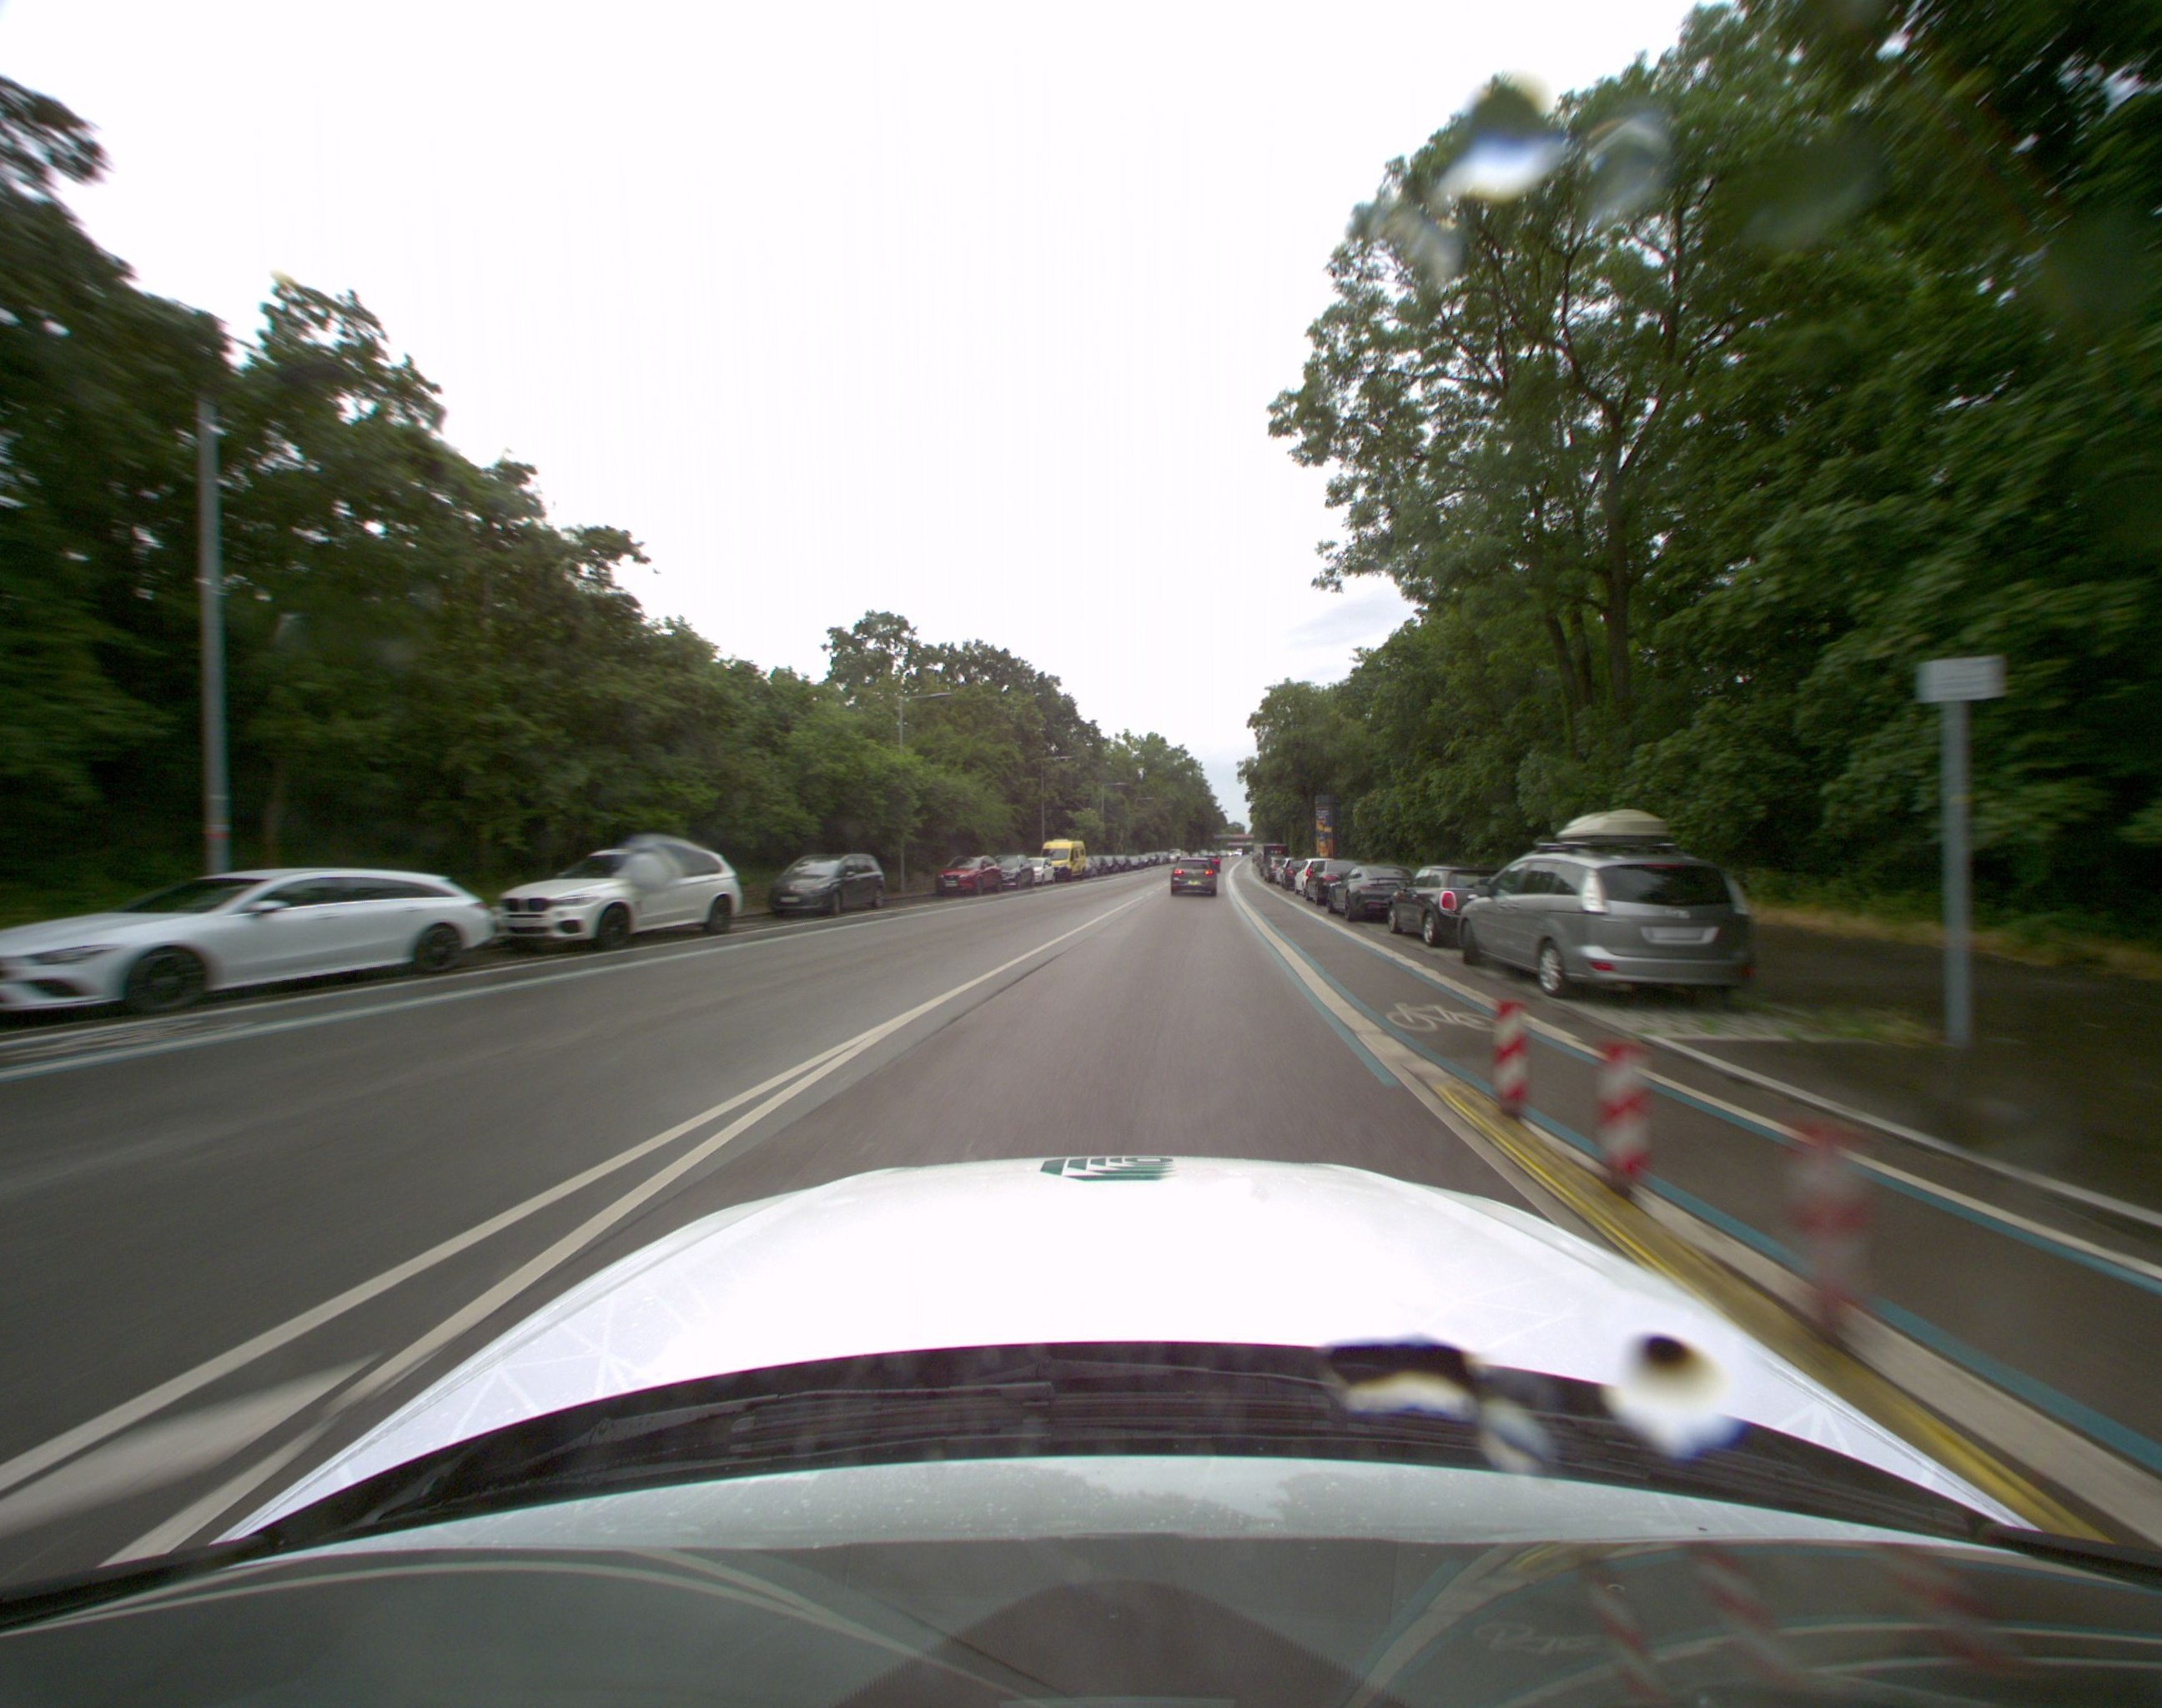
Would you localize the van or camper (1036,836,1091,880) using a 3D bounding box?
[{"bbox_3d":[-1.037,0.226,51.181,2.129,2.627,5.702,0,0,12],"label":"van or camper"}]

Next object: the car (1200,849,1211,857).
[{"bbox_3d":[29.393,-0.218,192.434,2.144,2.013,5.048,0,0,13],"label":"car"}]

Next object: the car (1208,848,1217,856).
[{"bbox_3d":[34.969,-0.592,216.805,2.144,2.013,5.048,0,0,13],"label":"car"}]

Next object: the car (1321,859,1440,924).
[{"bbox_3d":[7.381,0.861,20.523,1.843,1.399,4.394,1,0,7],"label":"car"}]

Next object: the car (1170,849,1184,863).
[{"bbox_3d":[14.664,0.264,124.312,1.928,2.013,4.752,0,0,9],"label":"car"}]

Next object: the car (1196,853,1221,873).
[{"bbox_3d":[10.163,0.681,65.118,1.870,1.466,4.010,2,1,9],"label":"car"}]

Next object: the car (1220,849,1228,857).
[{"bbox_3d":[32.923,-0.212,187.334,1.810,1.706,3.869,0,0,12],"label":"car"}]

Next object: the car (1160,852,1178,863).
[{"bbox_3d":[12.372,0.409,114.083,1.980,1.488,4.483,0,0,12],"label":"car"}]

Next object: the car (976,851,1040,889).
[{"bbox_3d":[-3.513,0.742,39.961,1.981,1.700,4.628,0,0,10],"label":"car"}]

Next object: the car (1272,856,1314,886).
[{"bbox_3d":[11.055,0.846,42.640,1.609,1.466,4.008,1,0,7],"label":"car"}]

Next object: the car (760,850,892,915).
[{"bbox_3d":[-7.053,0.721,23.073,1.721,1.649,4.582,0,0,8],"label":"car"}]

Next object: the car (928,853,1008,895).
[{"bbox_3d":[-4.718,0.798,34.584,1.906,1.617,4.504,-1,0,12],"label":"car"}]

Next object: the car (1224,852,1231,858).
[{"bbox_3d":[40.059,0.327,222.787,1.810,1.706,3.869,0,0,12],"label":"car"}]

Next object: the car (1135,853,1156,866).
[{"bbox_3d":[6.785,0.521,85.325,1.685,1.300,4.206,0,0,12],"label":"car"}]

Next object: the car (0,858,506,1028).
[{"bbox_3d":[-9.713,0.810,9.744,1.707,1.460,4.723,0,0,12],"label":"car"}]

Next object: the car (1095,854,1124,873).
[{"bbox_3d":[2.370,0.781,67.065,1.592,1.510,3.991,0,0,13],"label":"car"}]

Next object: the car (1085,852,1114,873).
[{"bbox_3d":[1.404,0.635,61.786,1.592,1.510,3.150,0,0,13],"label":"car"}]

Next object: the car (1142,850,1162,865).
[{"bbox_3d":[7.897,0.368,90.279,1.685,1.584,4.152,0,0,12],"label":"car"}]

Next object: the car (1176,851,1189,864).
[{"bbox_3d":[16.797,0.605,134.643,1.928,2.013,4.752,0,0,9],"label":"car"}]

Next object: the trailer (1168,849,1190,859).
[{"bbox_3d":[15.500,0.019,129.182,1.610,1.628,3.695,0,0,43],"label":"trailer"}]

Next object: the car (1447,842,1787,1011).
[{"bbox_3d":[6.139,0.696,10.030,1.812,1.615,4.260,0,0,7],"label":"car"}]

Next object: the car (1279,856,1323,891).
[{"bbox_3d":[10.064,0.850,37.444,1.648,1.465,3.912,2,1,11],"label":"car"}]

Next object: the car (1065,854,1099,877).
[{"bbox_3d":[0.141,0.774,56.423,1.669,1.498,4.160,-1,0,9],"label":"car"}]

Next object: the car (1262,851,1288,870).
[{"bbox_3d":[15.069,0.476,63.501,1.784,1.450,4.442,0,0,11],"label":"car"}]

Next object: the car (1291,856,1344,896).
[{"bbox_3d":[9.269,0.822,32.151,1.551,1.460,3.685,1,0,8],"label":"car"}]

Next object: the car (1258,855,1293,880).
[{"bbox_3d":[12.489,0.840,52.397,1.812,1.485,4.210,2,1,9],"label":"car"}]

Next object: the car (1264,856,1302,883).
[{"bbox_3d":[11.675,0.867,47.288,1.742,1.393,4.456,2,0,8],"label":"car"}]

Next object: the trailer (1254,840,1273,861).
[{"bbox_3d":[23.235,-0.459,103.993,2.119,2.560,4.309,0,0,9],"label":"trailer"}]

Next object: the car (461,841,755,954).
[{"bbox_3d":[-8.497,0.678,15.333,1.981,1.765,4.975,0,0,11],"label":"car"}]

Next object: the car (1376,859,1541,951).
[{"bbox_3d":[6.789,0.833,15.059,1.688,1.413,3.711,2,0,7],"label":"car"}]

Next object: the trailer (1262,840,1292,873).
[{"bbox_3d":[13.974,0.168,58.205,1.894,2.247,4.783,0,0,11],"label":"trailer"}]

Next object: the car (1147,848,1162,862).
[{"bbox_3d":[8.611,0.149,94.737,1.451,1.571,2.993,0,0,11],"label":"car"}]

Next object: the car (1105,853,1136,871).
[{"bbox_3d":[3.492,0.678,71.186,1.980,1.452,4.153,0,0,13],"label":"car"}]

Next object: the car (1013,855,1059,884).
[{"bbox_3d":[-2.420,0.836,44.859,1.606,1.448,3.669,-1,0,12],"label":"car"}]

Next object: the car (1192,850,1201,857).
[{"bbox_3d":[23.949,-0.088,168.420,1.662,1.513,3.641,0,1,11],"label":"car"}]

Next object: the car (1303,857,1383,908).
[{"bbox_3d":[8.465,0.840,26.679,1.845,1.455,4.764,1,0,10],"label":"car"}]

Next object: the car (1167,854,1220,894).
[{"bbox_3d":[4.388,0.779,32.182,1.862,1.441,4.302,1,-1,5],"label":"car"}]

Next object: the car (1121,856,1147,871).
[{"bbox_3d":[4.977,0.871,76.118,1.857,1.304,4.484,0,0,11],"label":"car"}]
